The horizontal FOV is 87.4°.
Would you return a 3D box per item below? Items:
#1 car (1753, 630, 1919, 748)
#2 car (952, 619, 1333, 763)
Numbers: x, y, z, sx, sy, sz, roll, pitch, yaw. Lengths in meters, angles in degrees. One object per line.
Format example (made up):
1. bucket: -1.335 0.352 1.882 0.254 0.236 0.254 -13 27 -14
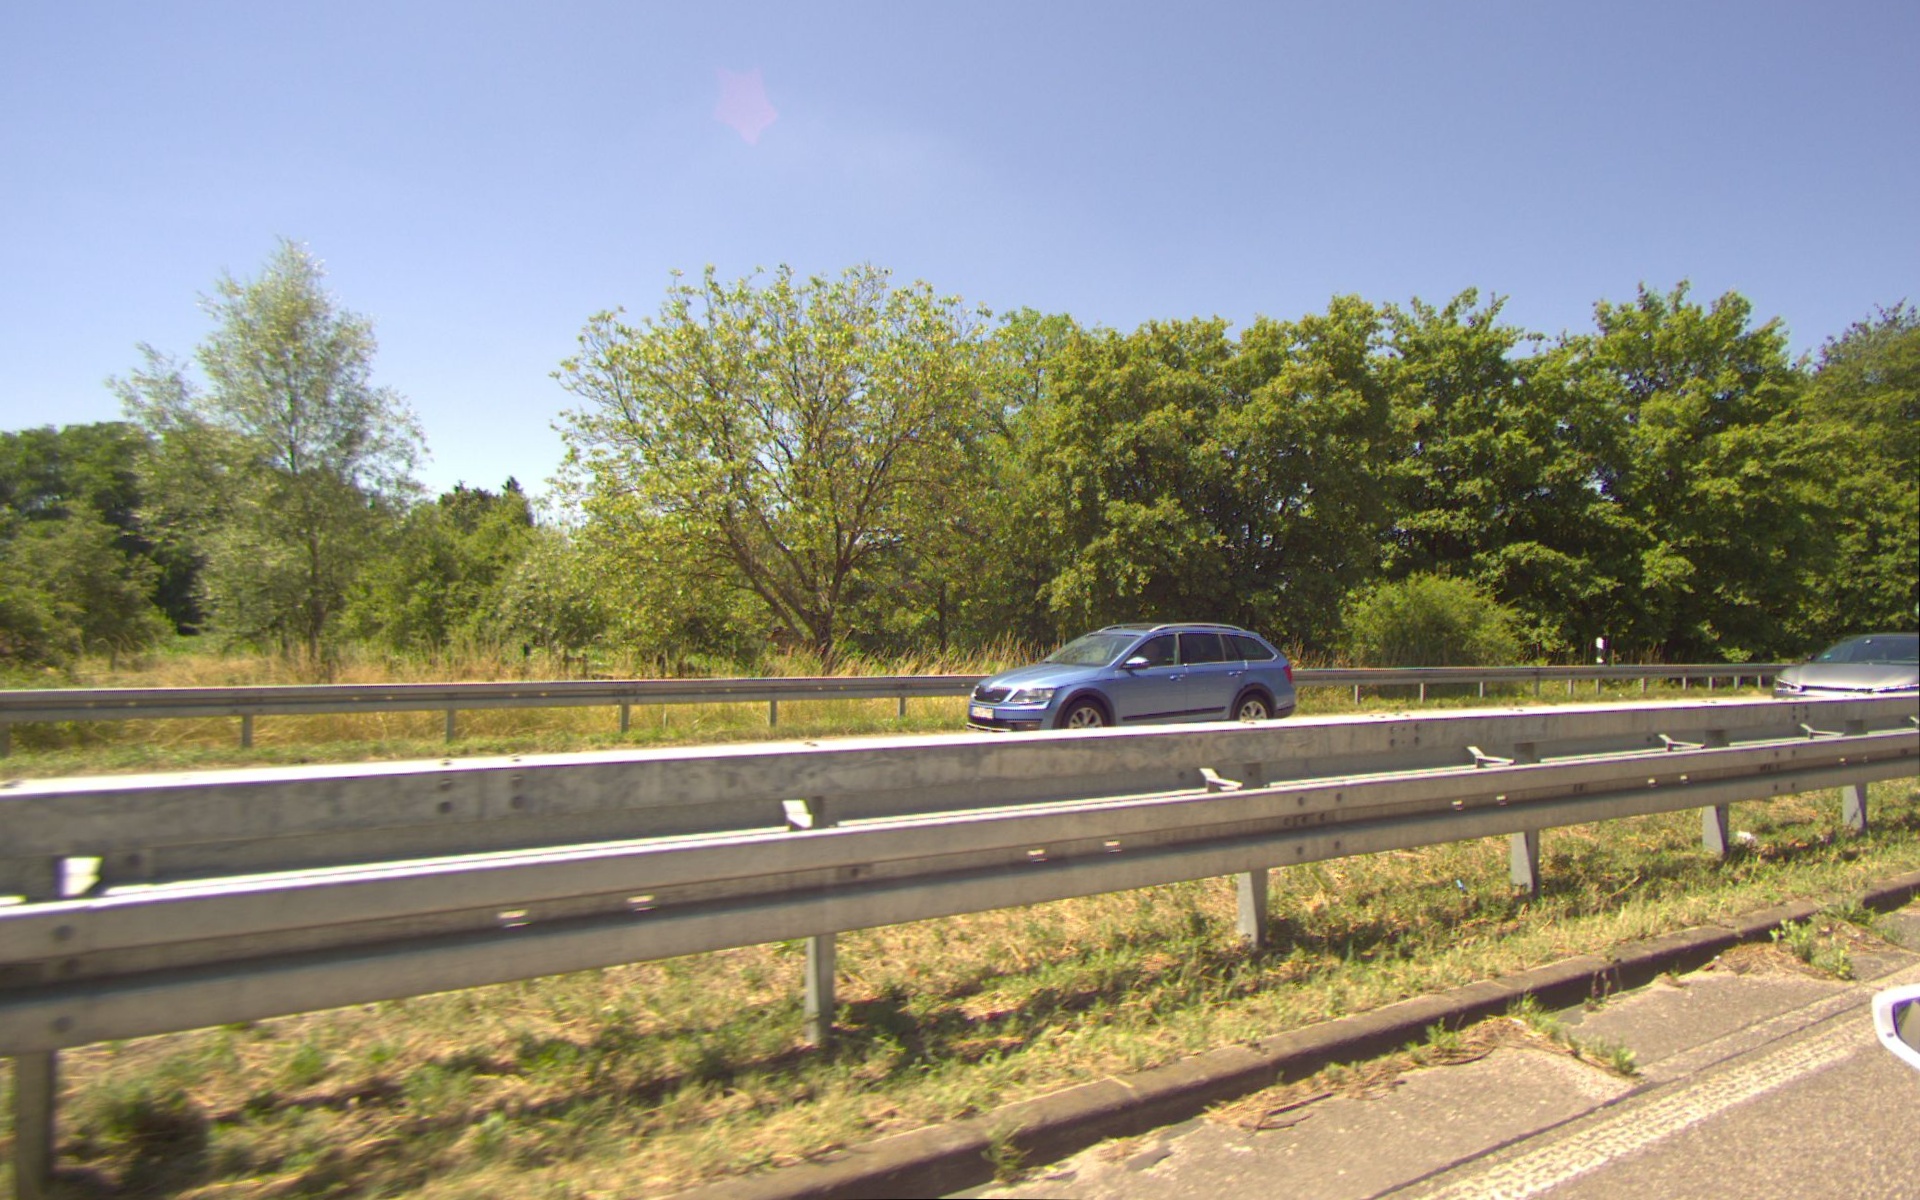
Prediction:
1. car: 14.998 1.335 16.116 4.497 1.653 1.985 2 -2 -29
2. car: 2.447 1.080 12.987 4.870 1.563 1.804 2 -2 -30
